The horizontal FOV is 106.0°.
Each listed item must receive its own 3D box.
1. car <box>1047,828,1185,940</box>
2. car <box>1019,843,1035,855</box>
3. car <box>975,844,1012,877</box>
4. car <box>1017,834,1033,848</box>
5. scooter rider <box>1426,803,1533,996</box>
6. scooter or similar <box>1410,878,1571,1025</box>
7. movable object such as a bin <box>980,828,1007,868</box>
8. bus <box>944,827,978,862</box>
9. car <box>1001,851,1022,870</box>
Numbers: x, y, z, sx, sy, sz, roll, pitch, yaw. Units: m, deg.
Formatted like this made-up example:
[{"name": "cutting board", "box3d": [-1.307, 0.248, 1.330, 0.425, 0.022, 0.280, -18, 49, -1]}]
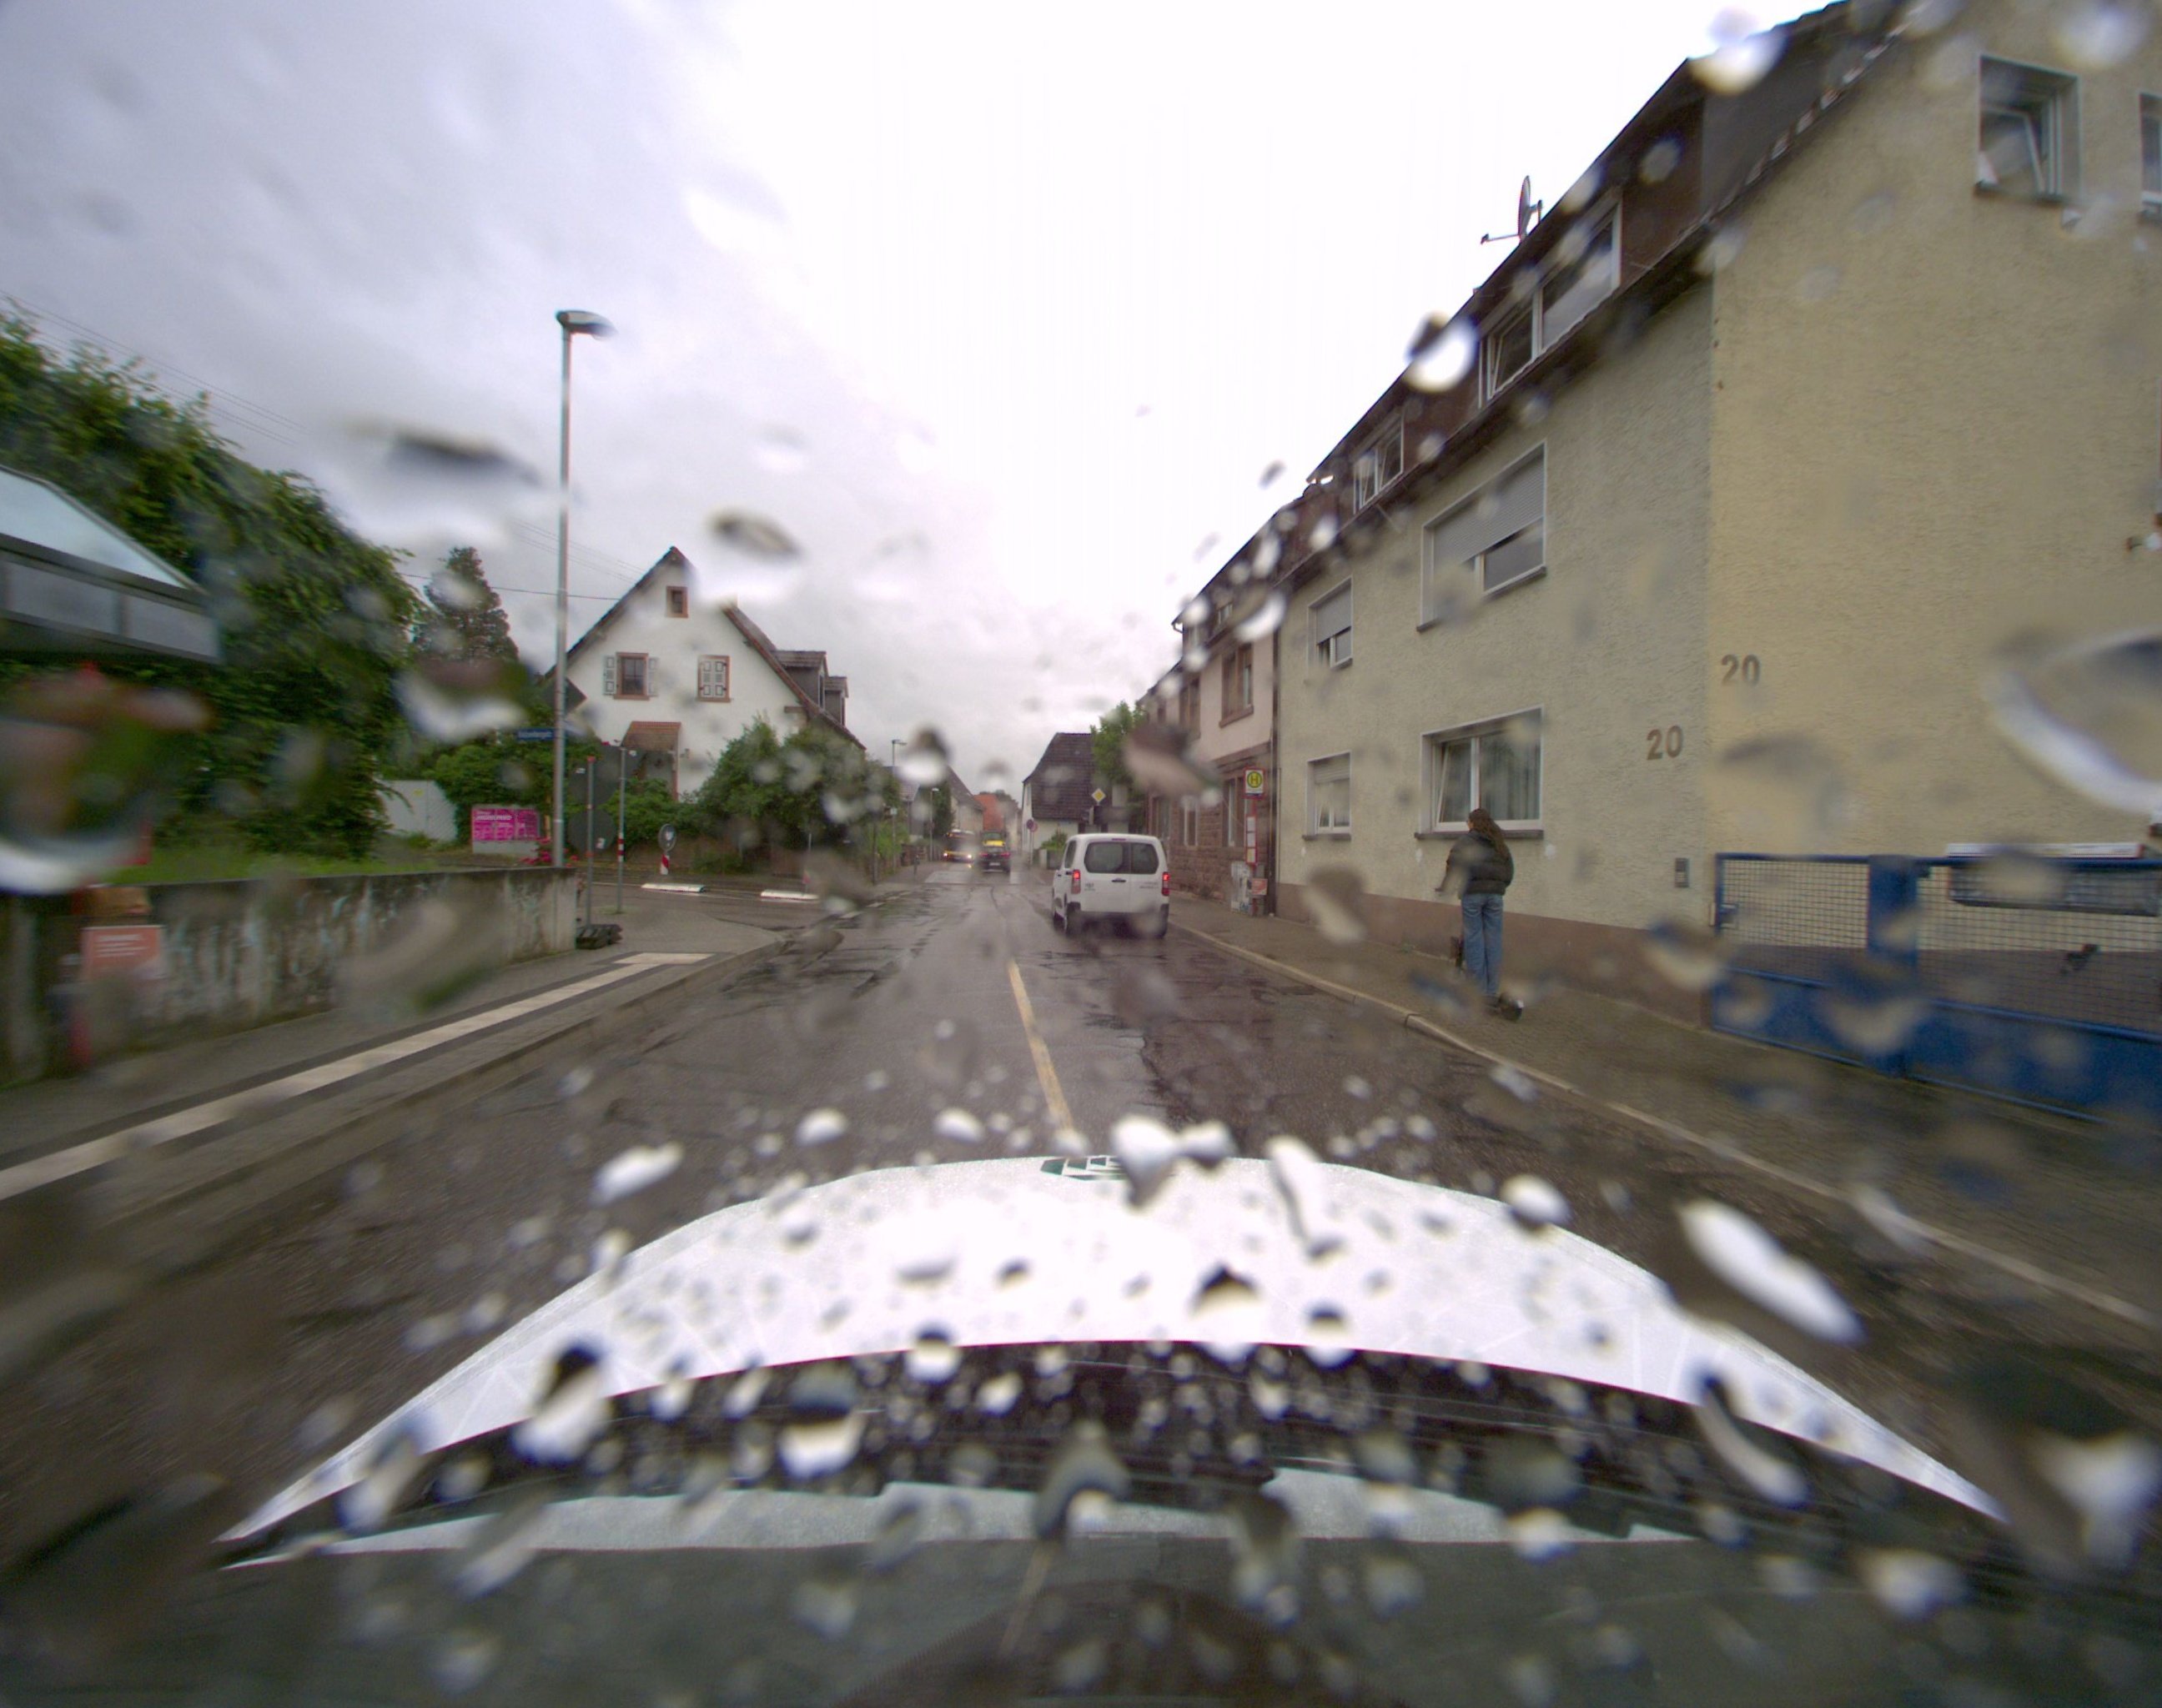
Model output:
[{"name": "car", "box3d": [0.518, 0.479, 15.357, 1.893, 1.793, 3.803, 2, 0, -8]}, {"name": "car", "box3d": [-9.081, -0.892, 137.395, 1.984, 2.013, 4.005, -1, 0, 4]}, {"name": "car", "box3d": [-4.647, 0.311, 42.986, 1.808, 1.596, 3.746, 2, 0, -8]}, {"name": "car", "box3d": [-7.366, -1.760, 108.063, 1.846, 1.794, 3.998, -1, 0, -1]}, {"name": "scooter rider", "box3d": [3.728, 0.414, 7.647, 0.730, 1.733, 0.516, 1, -1, -9]}, {"name": "scooter or similar", "box3d": [3.738, 0.845, 7.558, 0.620, 1.127, 1.398, 1, 2, -8]}, {"name": "movable object such as a bin", "box3d": [-6.140, -0.426, 56.909, 1.725, 2.653, 3.965, 2, 0, -6]}, {"name": "bus", "box3d": [-11.587, -1.039, 79.520, 2.646, 2.999, 12.171, 1, 2, -5]}, {"name": "car", "box3d": [-7.250, 0.658, 85.161, 1.891, 1.947, 3.997, -1, 0, -2]}]
